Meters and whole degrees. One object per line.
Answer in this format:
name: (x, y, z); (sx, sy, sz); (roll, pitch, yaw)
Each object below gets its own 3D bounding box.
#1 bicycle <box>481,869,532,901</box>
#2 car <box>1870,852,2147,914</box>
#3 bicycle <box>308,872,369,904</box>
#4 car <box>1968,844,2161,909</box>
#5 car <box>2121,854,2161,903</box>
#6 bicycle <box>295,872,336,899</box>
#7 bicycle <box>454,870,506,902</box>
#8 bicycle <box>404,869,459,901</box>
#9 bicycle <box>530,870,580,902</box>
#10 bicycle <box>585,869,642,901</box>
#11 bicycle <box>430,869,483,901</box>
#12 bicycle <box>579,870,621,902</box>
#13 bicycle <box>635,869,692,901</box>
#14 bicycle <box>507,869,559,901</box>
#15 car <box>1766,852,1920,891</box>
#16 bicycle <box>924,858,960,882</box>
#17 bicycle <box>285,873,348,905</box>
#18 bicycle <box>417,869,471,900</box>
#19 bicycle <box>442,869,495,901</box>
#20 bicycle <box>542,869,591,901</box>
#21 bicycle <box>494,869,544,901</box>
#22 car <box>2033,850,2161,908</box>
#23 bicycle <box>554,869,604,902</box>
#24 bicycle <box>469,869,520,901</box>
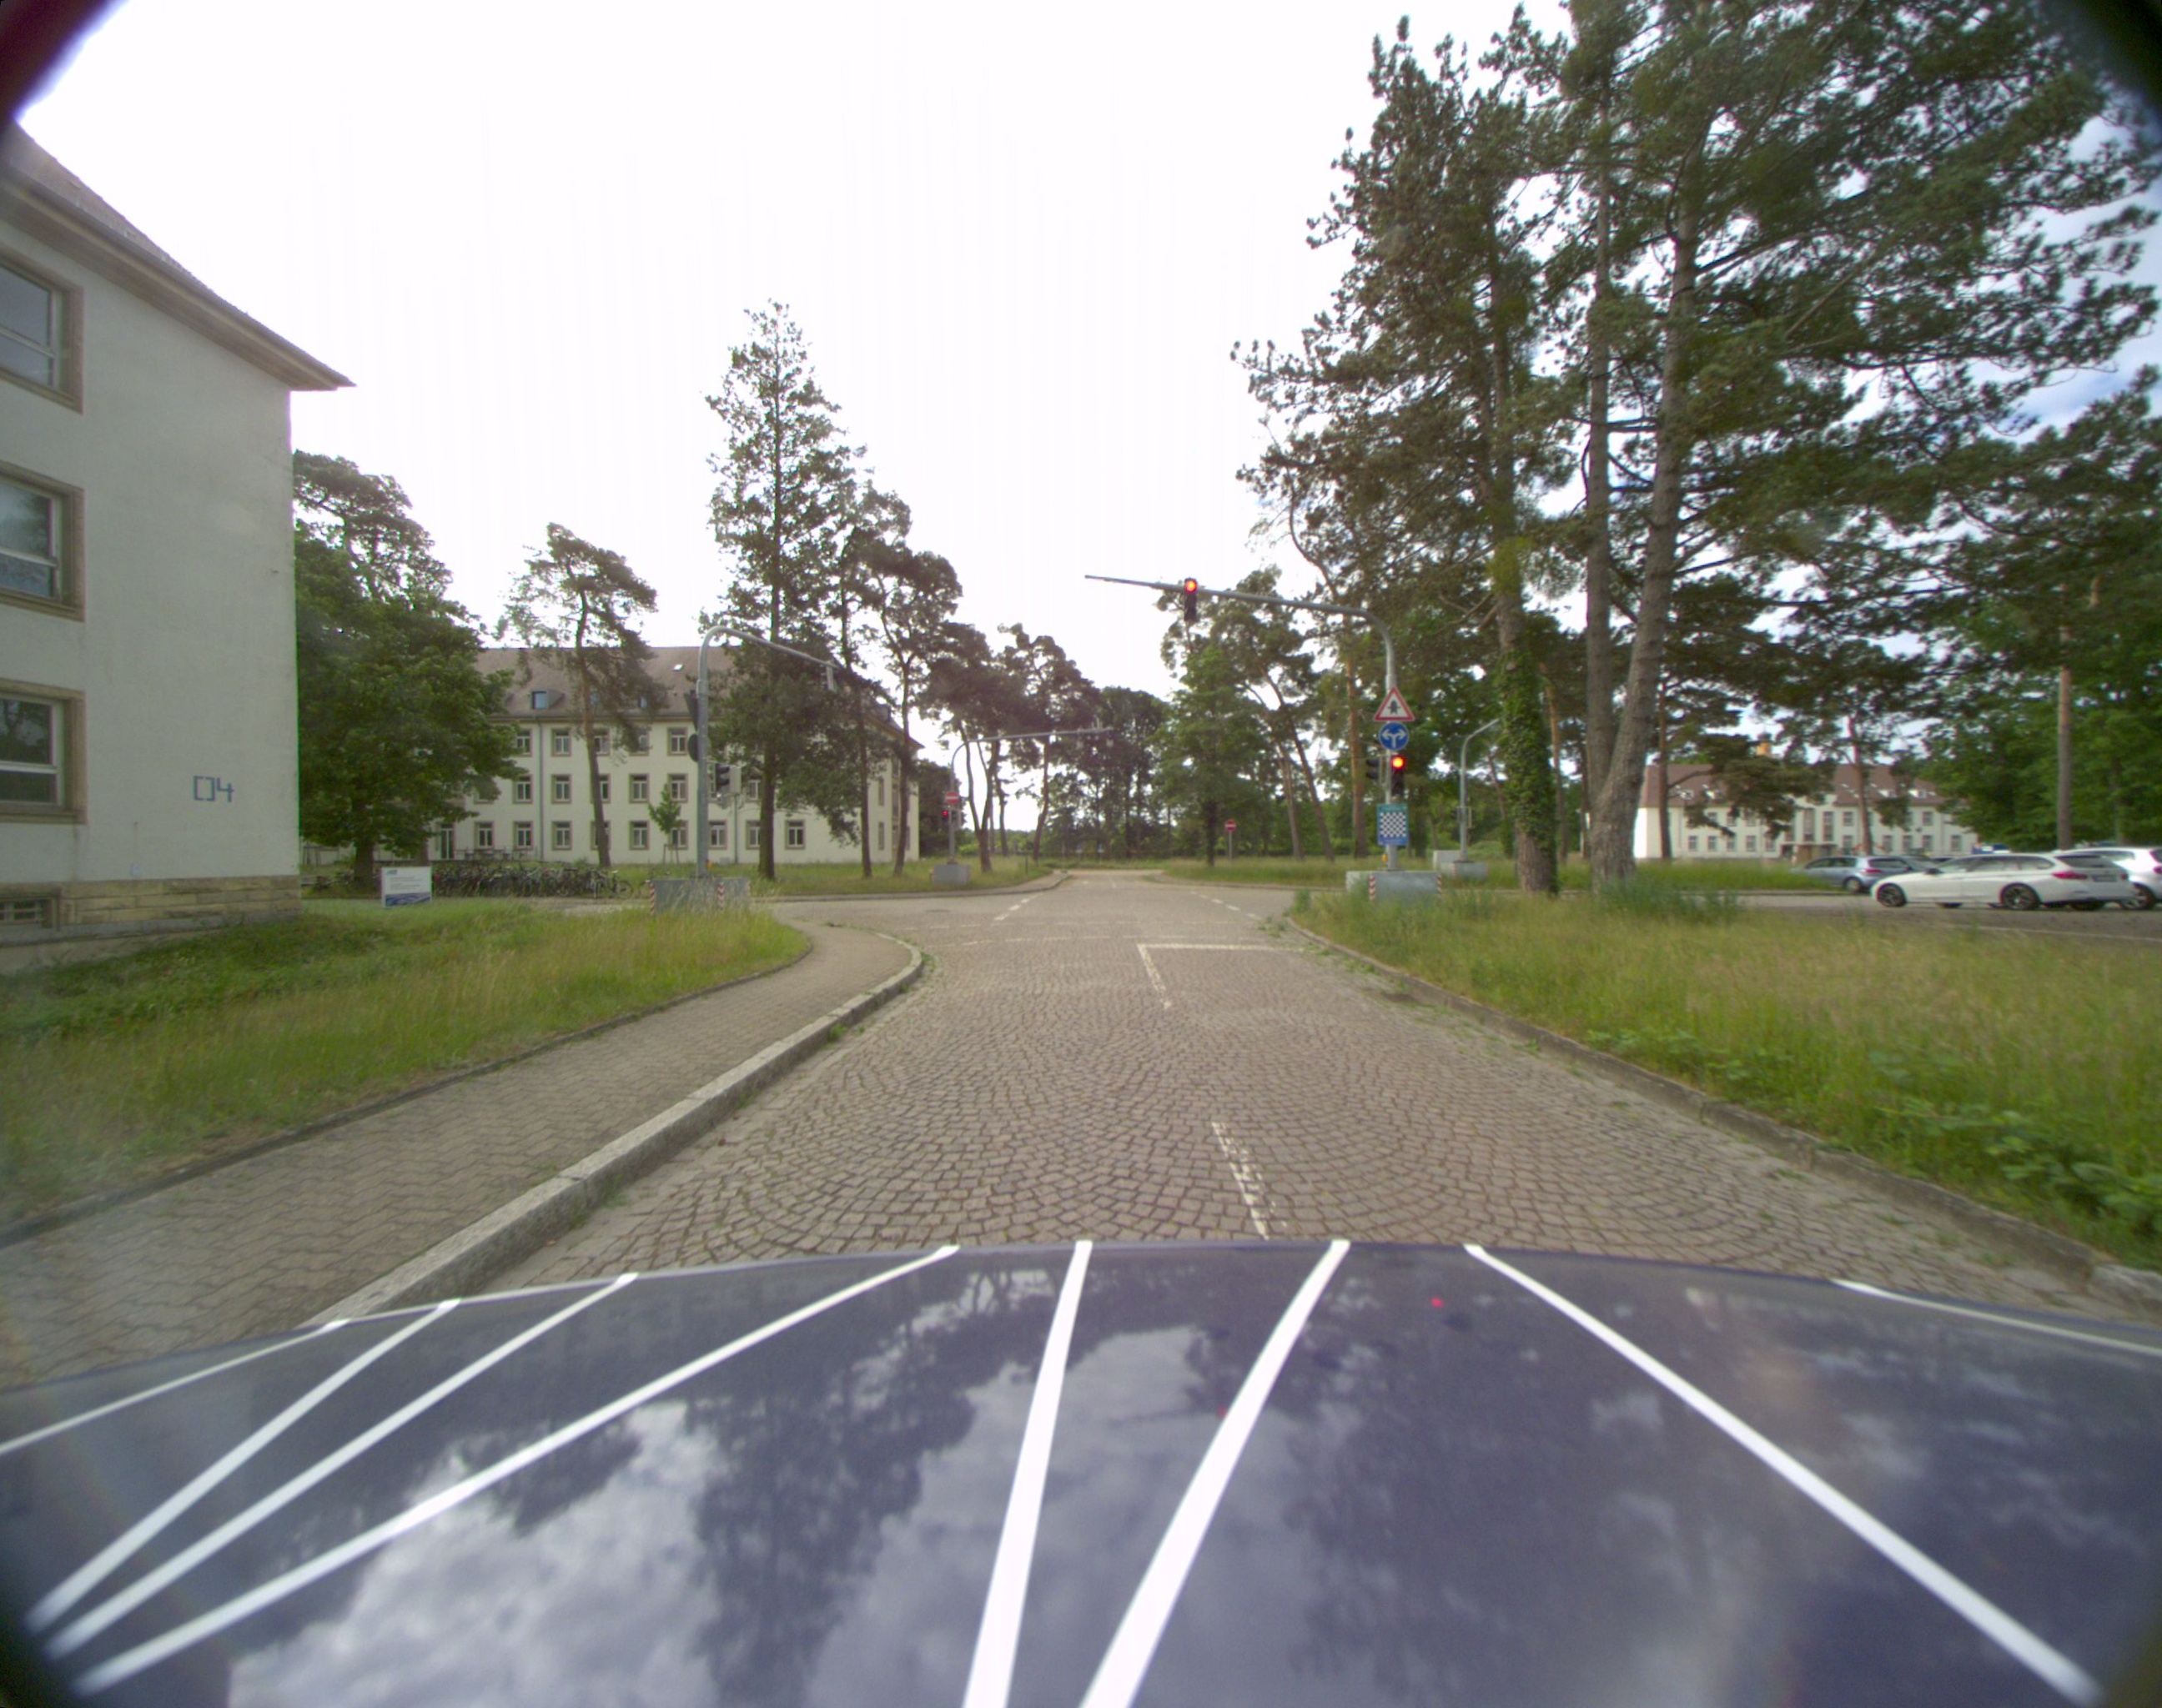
bicycle: (-21.419, 1.142, 28.356); (0.448, 1.121, 1.731); (0, 0, 5)
car: (23.489, 0.658, 19.564); (1.829, 1.417, 4.320); (-1, 0, -1)
bicycle: (-27.442, 1.243, 28.112); (0.448, 1.121, 1.731); (0, 0, 5)
car: (25.996, 0.566, 19.560); (1.674, 1.510, 3.899); (-1, -2, -1)
car: (31.460, 0.698, 20.346); (1.637, 1.391, 4.037); (-1, 0, -1)
bicycle: (-33.142, 1.344, 32.925); (0.478, 1.121, 1.598); (-1, 0, -14)
bicycle: (-22.440, 1.162, 28.414); (0.448, 1.121, 1.731); (0, 0, 5)
bicycle: (-24.370, 1.146, 28.533); (0.448, 1.121, 1.731); (0, 0, 5)
bicycle: (-19.567, 1.166, 28.298); (0.447, 1.121, 1.732); (0, 0, 10)
bicycle: (-16.440, 1.092, 26.738); (1.655, 1.079, 0.615); (0, 1, 3)
bicycle: (-23.405, 1.133, 28.506); (0.448, 1.121, 1.731); (0, 0, 5)
bicycle: (-17.970, 1.162, 28.408); (0.476, 1.121, 1.657); (-1, 0, 0)
bicycle: (-14.738, 1.093, 26.845); (1.656, 1.079, 0.614); (-1, 1, -2)
bicycle: (-20.361, 1.145, 28.267); (0.447, 1.121, 1.732); (0, 0, 10)
car: (30.803, 0.671, 30.933); (1.829, 1.466, 4.402); (-1, 0, -1)
bicycle: (-6.314, 0.723, 34.617); (0.613, 1.079, 1.660); (0, 0, 33)
bicycle: (-28.052, 1.270, 27.919); (0.448, 1.121, 1.731); (0, 0, 5)
bicycle: (-23.869, 1.126, 28.511); (0.448, 1.121, 1.731); (0, 0, 5)
bicycle: (-22.925, 1.154, 28.463); (0.448, 1.121, 1.731); (0, 0, 5)
bicycle: (-19.092, 1.148, 28.223); (0.447, 1.121, 1.703); (0, 0, 10)
bicycle: (-20.909, 1.149, 28.323); (0.448, 1.121, 1.731); (0, 0, 5)
car: (28.654, 0.632, 19.919); (1.829, 1.466, 4.402); (-1, 0, -1)
bicycle: (-18.599, 1.155, 28.188); (0.476, 1.121, 1.704); (0, 0, 10)
bicycle: (-21.900, 1.140, 28.396); (0.448, 1.121, 1.731); (0, 0, 5)
